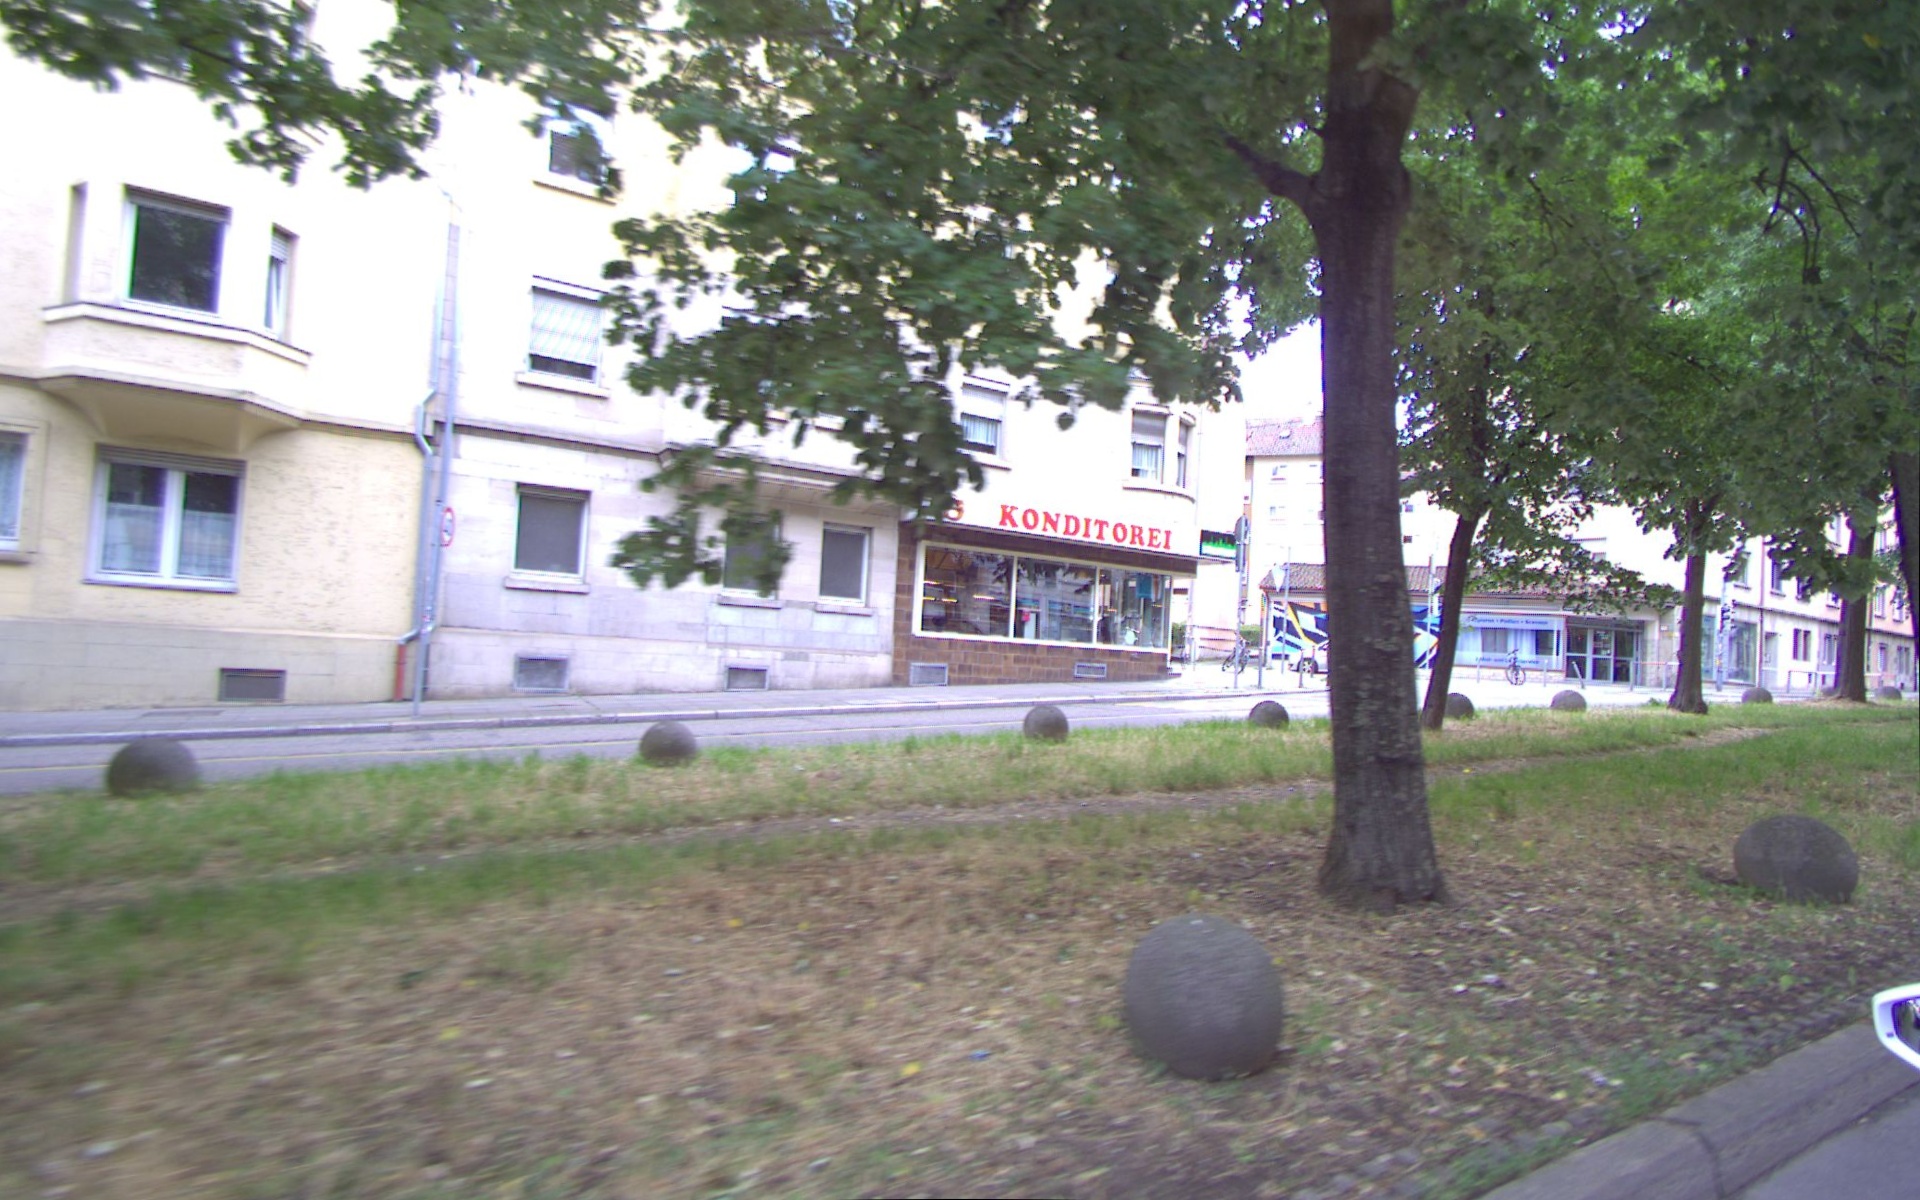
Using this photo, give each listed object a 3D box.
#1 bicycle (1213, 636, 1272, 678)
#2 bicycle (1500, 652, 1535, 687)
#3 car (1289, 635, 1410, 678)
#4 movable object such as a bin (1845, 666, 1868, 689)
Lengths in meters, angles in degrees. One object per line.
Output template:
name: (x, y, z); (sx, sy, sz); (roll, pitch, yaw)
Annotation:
bicycle: (8.202, 1.640, 29.289); (0.851, 1.060, 2.458); (3, 0, -4)
bicycle: (19.023, 2.354, 34.256); (0.752, 1.099, 2.030); (3, -1, 36)
car: (14.219, 2.092, 36.663); (3.966, 1.498, 1.820); (-2, -4, 26)
movable object such as a bin: (43.224, 3.731, 48.405); (0.684, 1.073, 0.687); (5, -2, -37)
